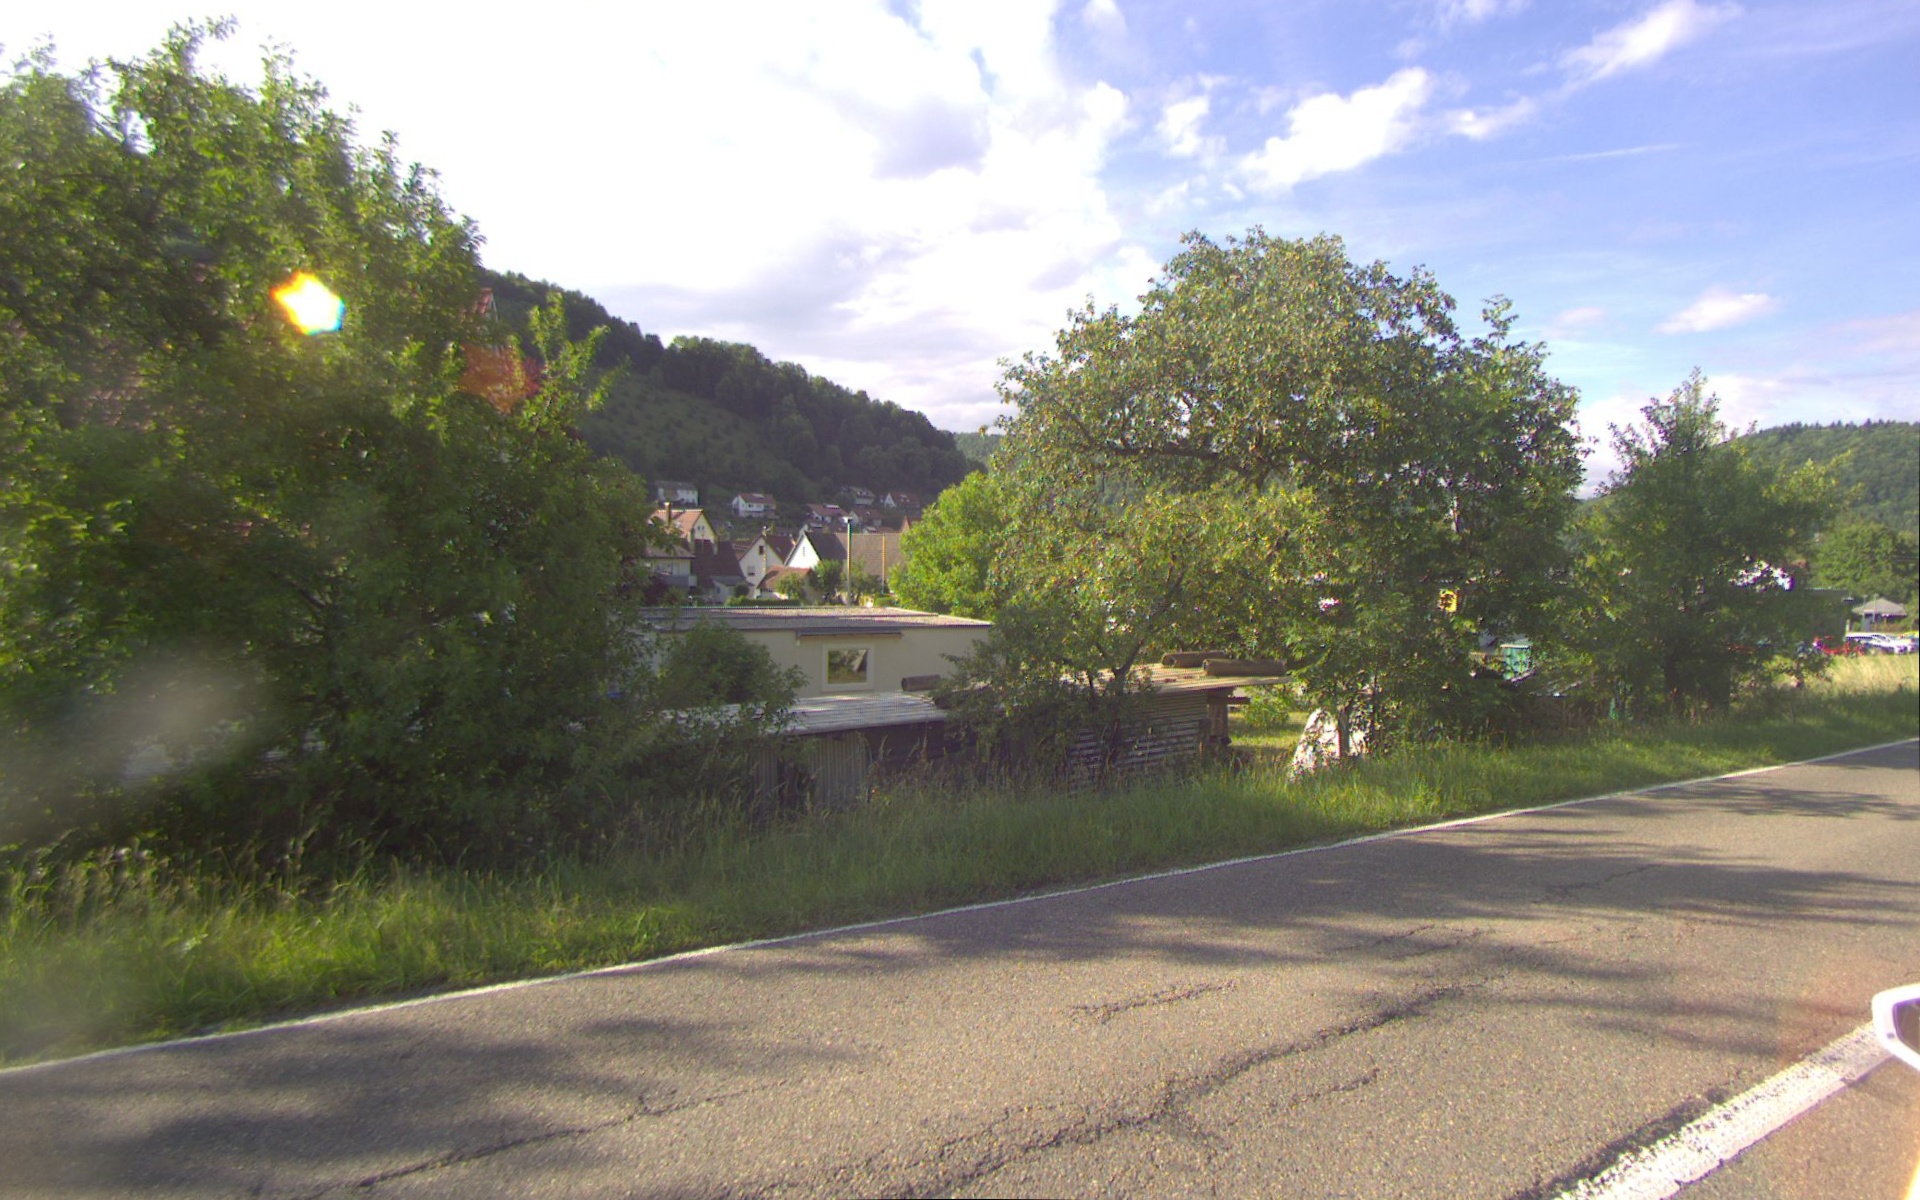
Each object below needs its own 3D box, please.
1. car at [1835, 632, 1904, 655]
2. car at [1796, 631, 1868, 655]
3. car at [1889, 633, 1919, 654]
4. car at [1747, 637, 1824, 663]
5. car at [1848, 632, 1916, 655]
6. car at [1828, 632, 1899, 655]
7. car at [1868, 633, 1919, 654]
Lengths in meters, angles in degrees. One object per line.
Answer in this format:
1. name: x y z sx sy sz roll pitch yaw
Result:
1. car: 76.096 3.612 84.112 1.981 1.734 3.959 2 0 -36
2. car: 69.212 3.382 79.759 1.981 1.734 3.959 2 0 -36
3. car: 86.229 3.948 90.075 1.981 1.734 3.959 2 0 -36
4. car: 60.495 3.646 73.669 1.981 1.734 3.959 2 0 -36
5. car: 78.806 3.703 85.905 1.981 1.734 3.959 2 0 -36
6. car: 73.404 3.518 81.626 1.981 1.734 3.959 2 0 -36
7. car: 83.515 3.861 89.163 1.981 1.734 3.959 2 0 -36
